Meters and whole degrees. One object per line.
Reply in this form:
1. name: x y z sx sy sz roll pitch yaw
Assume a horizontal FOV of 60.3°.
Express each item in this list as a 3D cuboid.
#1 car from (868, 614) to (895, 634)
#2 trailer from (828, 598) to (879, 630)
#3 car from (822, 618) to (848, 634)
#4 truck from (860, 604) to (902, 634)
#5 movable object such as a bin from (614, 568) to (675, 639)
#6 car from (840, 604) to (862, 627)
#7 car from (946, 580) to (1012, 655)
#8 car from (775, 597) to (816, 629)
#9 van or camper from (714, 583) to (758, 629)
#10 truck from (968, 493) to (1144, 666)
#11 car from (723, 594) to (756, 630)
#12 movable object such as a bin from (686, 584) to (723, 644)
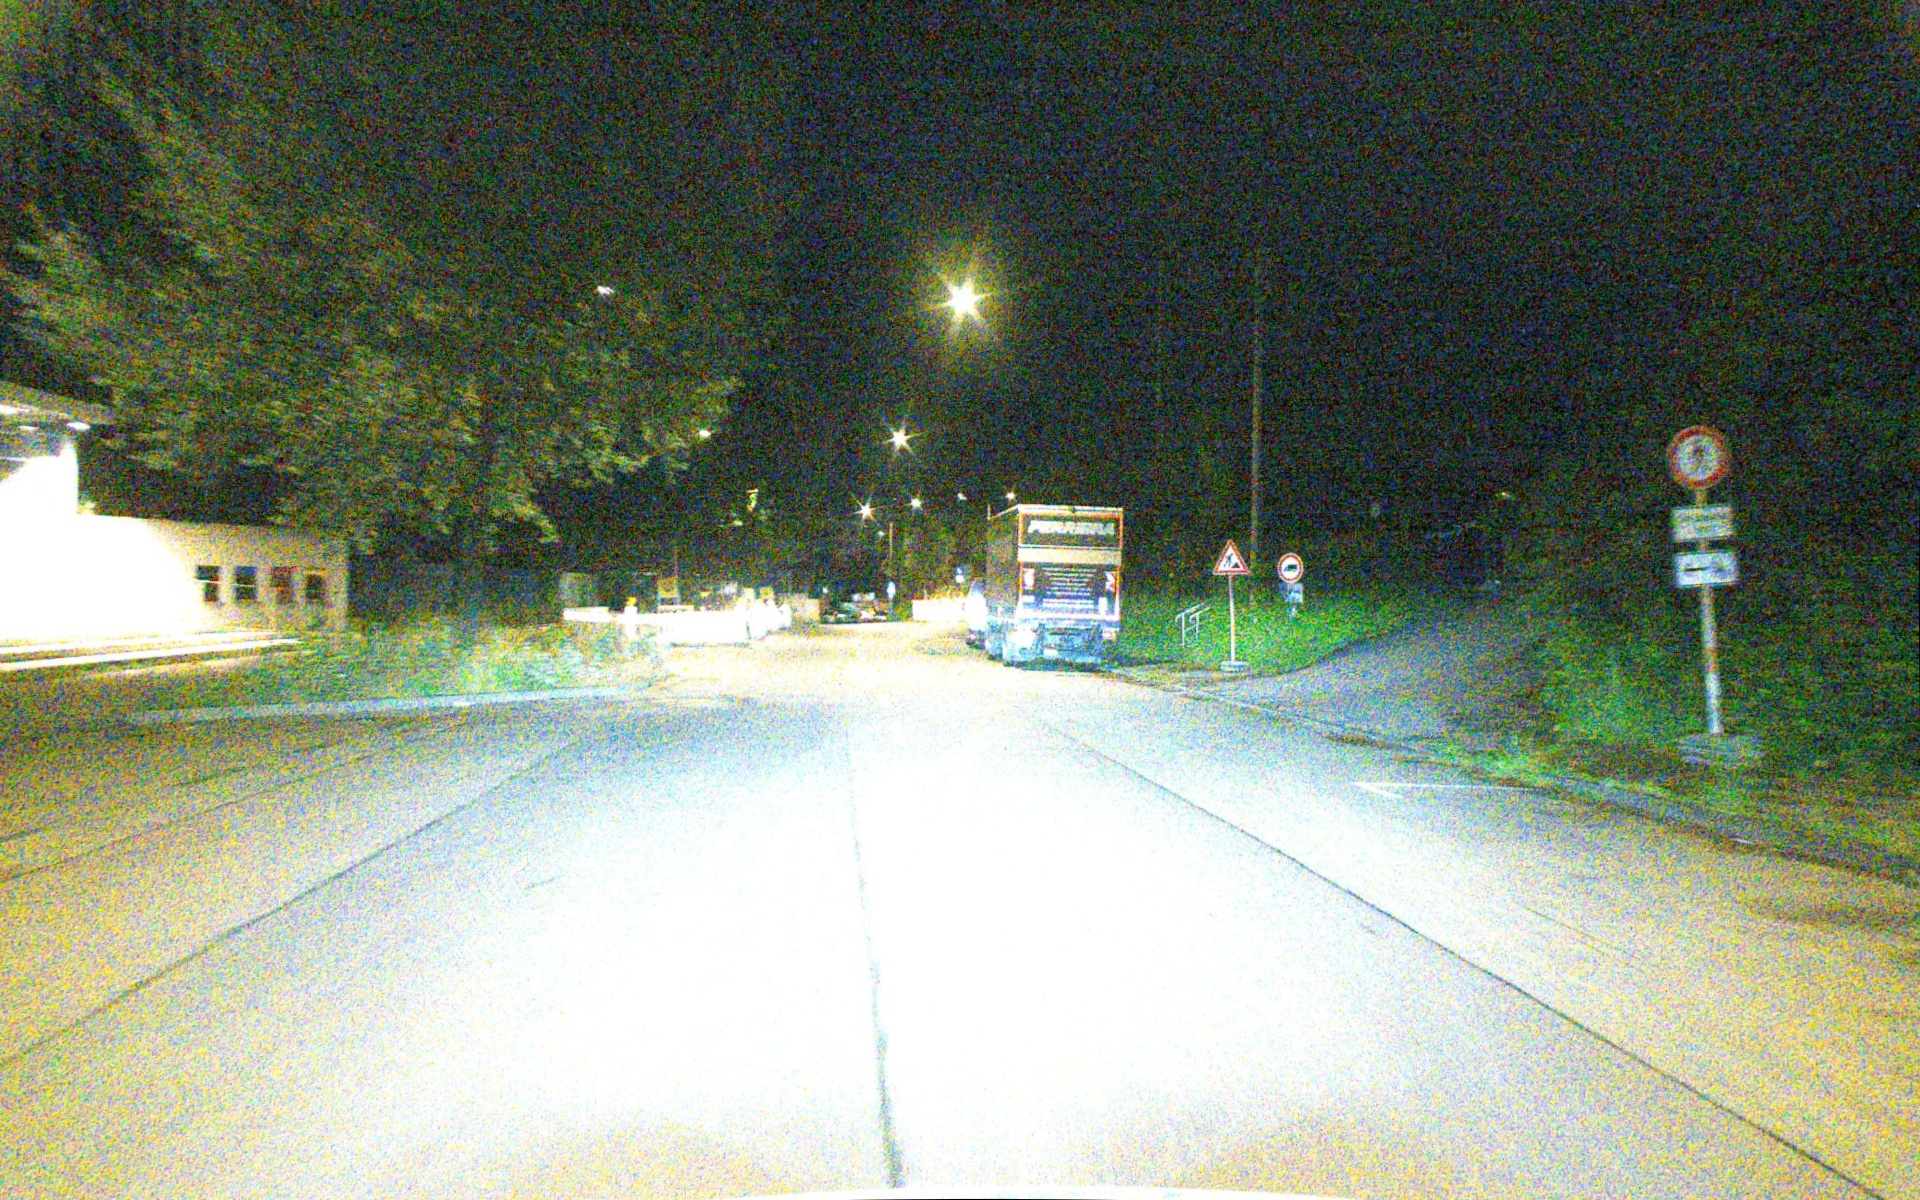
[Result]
1. car: -7.789 2.366 163.814 1.684 1.853 4.003 2 -2 11
2. trailer: -7.777 1.034 120.234 1.544 2.199 5.165 1 -2 -31
3. car: -14.162 2.956 187.363 1.951 1.729 4.209 2 -2 10
4. truck: -9.739 2.394 205.688 1.952 3.463 8.981 2 0 19
5. movable object such as a bin: -11.461 0.150 59.966 1.529 2.511 2.817 1 -1 -25
6. car: -8.923 1.288 135.183 1.687 1.690 3.996 2 -2 -4
7. car: 0.631 0.625 60.901 2.066 2.560 6.369 2 0 -2
8. car: -17.038 1.349 171.283 2.465 3.227 7.143 -1 -1 9
9. van or camper: -15.776 0.459 116.653 2.469 3.149 7.439 0 -1 -3
10. truck: 2.291 -0.411 43.546 3.259 3.936 9.318 2 -1 -5
11. car: -18.734 1.061 140.881 2.470 2.979 7.192 0 -1 -6
12. movable object such as a bin: -12.236 0.641 79.043 1.542 2.782 3.691 -1 0 -11
